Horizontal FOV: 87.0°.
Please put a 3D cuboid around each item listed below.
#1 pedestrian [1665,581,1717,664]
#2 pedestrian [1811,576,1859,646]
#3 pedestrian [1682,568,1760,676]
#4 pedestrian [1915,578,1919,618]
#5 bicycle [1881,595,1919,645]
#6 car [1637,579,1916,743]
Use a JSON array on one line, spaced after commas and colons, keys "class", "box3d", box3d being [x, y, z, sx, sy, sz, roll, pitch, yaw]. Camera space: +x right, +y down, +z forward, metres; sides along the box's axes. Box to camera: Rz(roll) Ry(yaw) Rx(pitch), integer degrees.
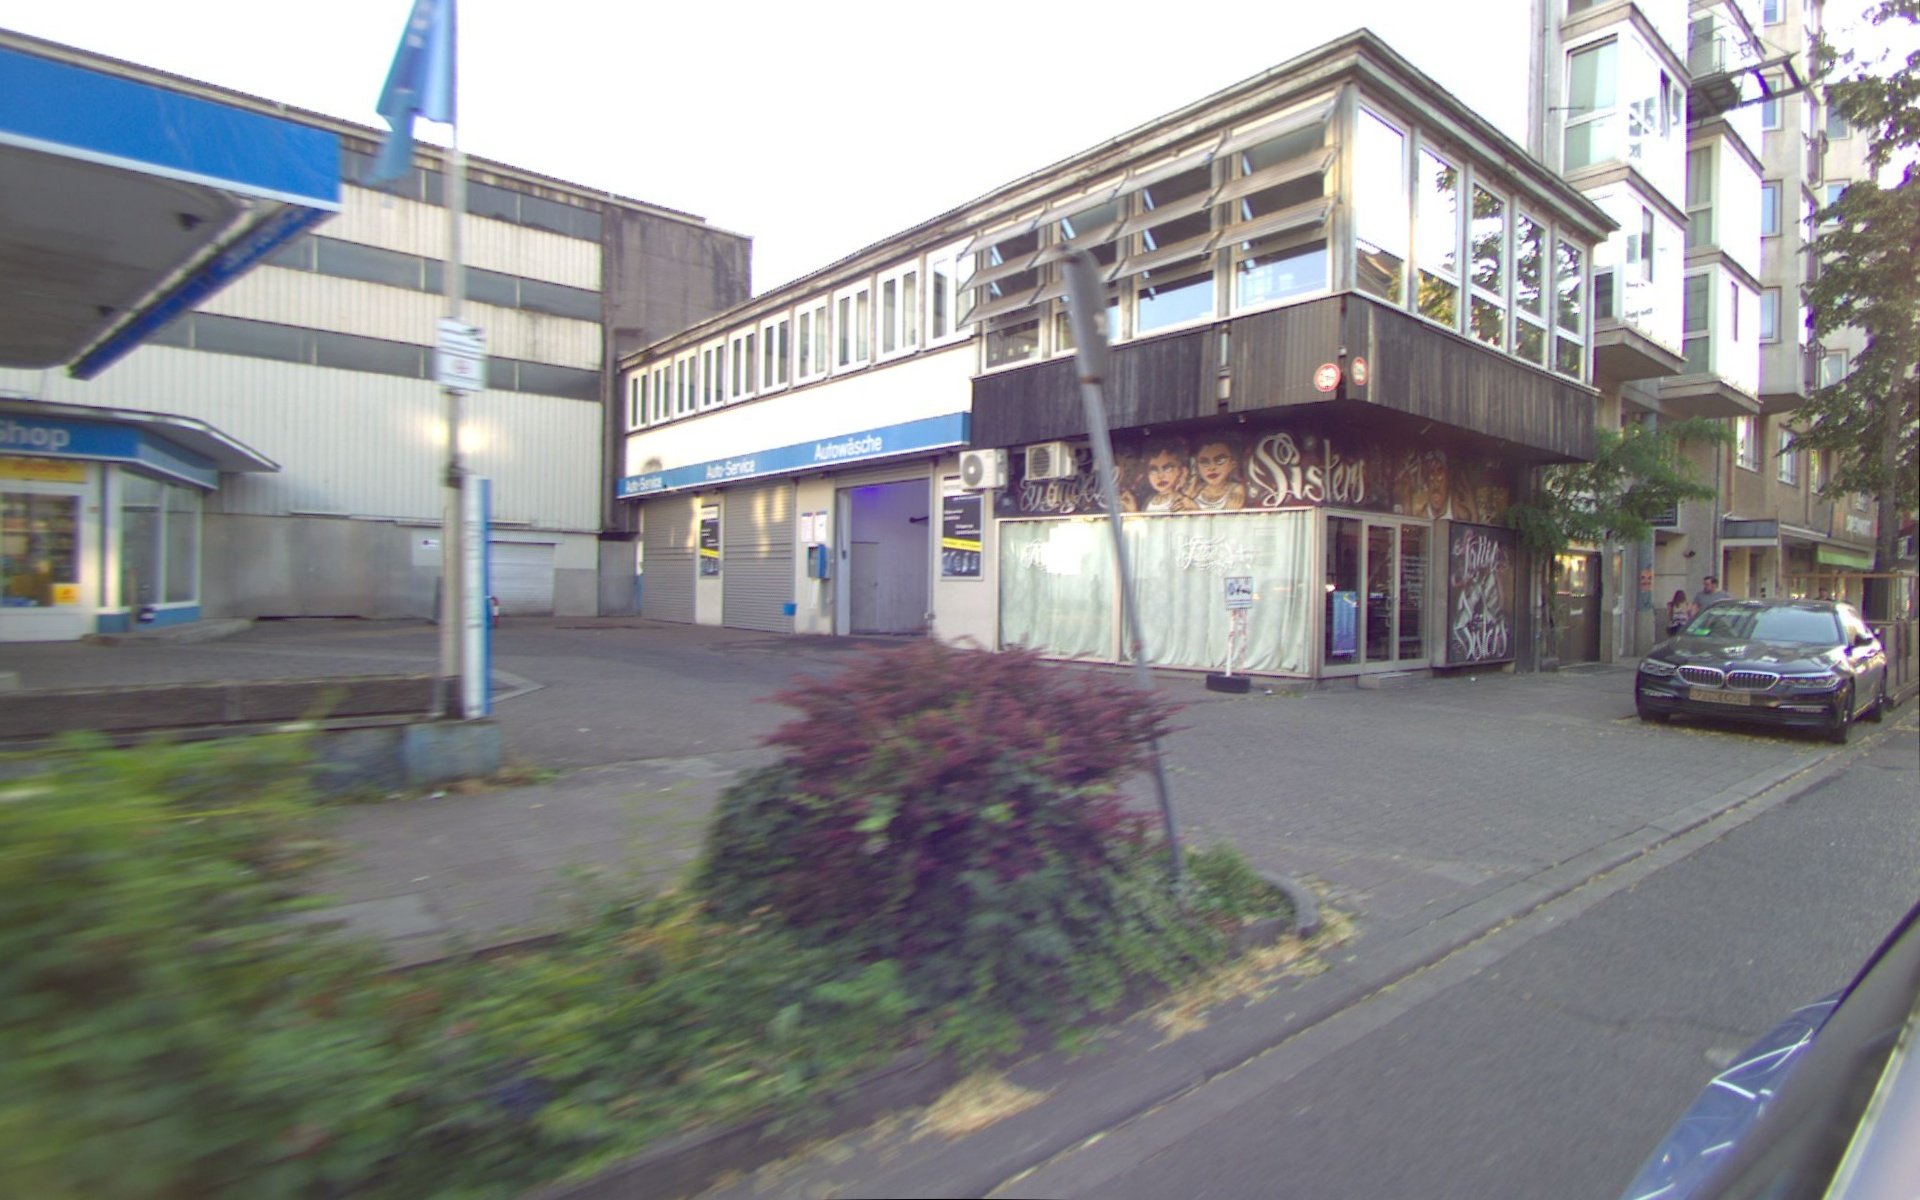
[{"class": "pedestrian", "box3d": [14.161, 0.418, 19.596, 0.759, 1.544, 0.612, 0, 2, -40]}, {"class": "pedestrian", "box3d": [22.389, 0.270, 25.894, 0.688, 1.725, 0.789, 0, 2, -40]}, {"class": "pedestrian", "box3d": [13.448, 0.367, 17.883, 0.979, 1.816, 0.857, 0, 2, -41]}, {"class": "pedestrian", "box3d": [44.695, -0.089, 46.797, 0.821, 1.831, 0.590, 0, 3, -40]}, {"class": "bicycle", "box3d": [26.236, 0.534, 28.009, 2.014, 1.277, 0.777, 0, 3, -40]}, {"class": "car", "box3d": [9.836, 0.563, 12.038, 4.767, 1.506, 1.832, 0, 3, -42]}]
